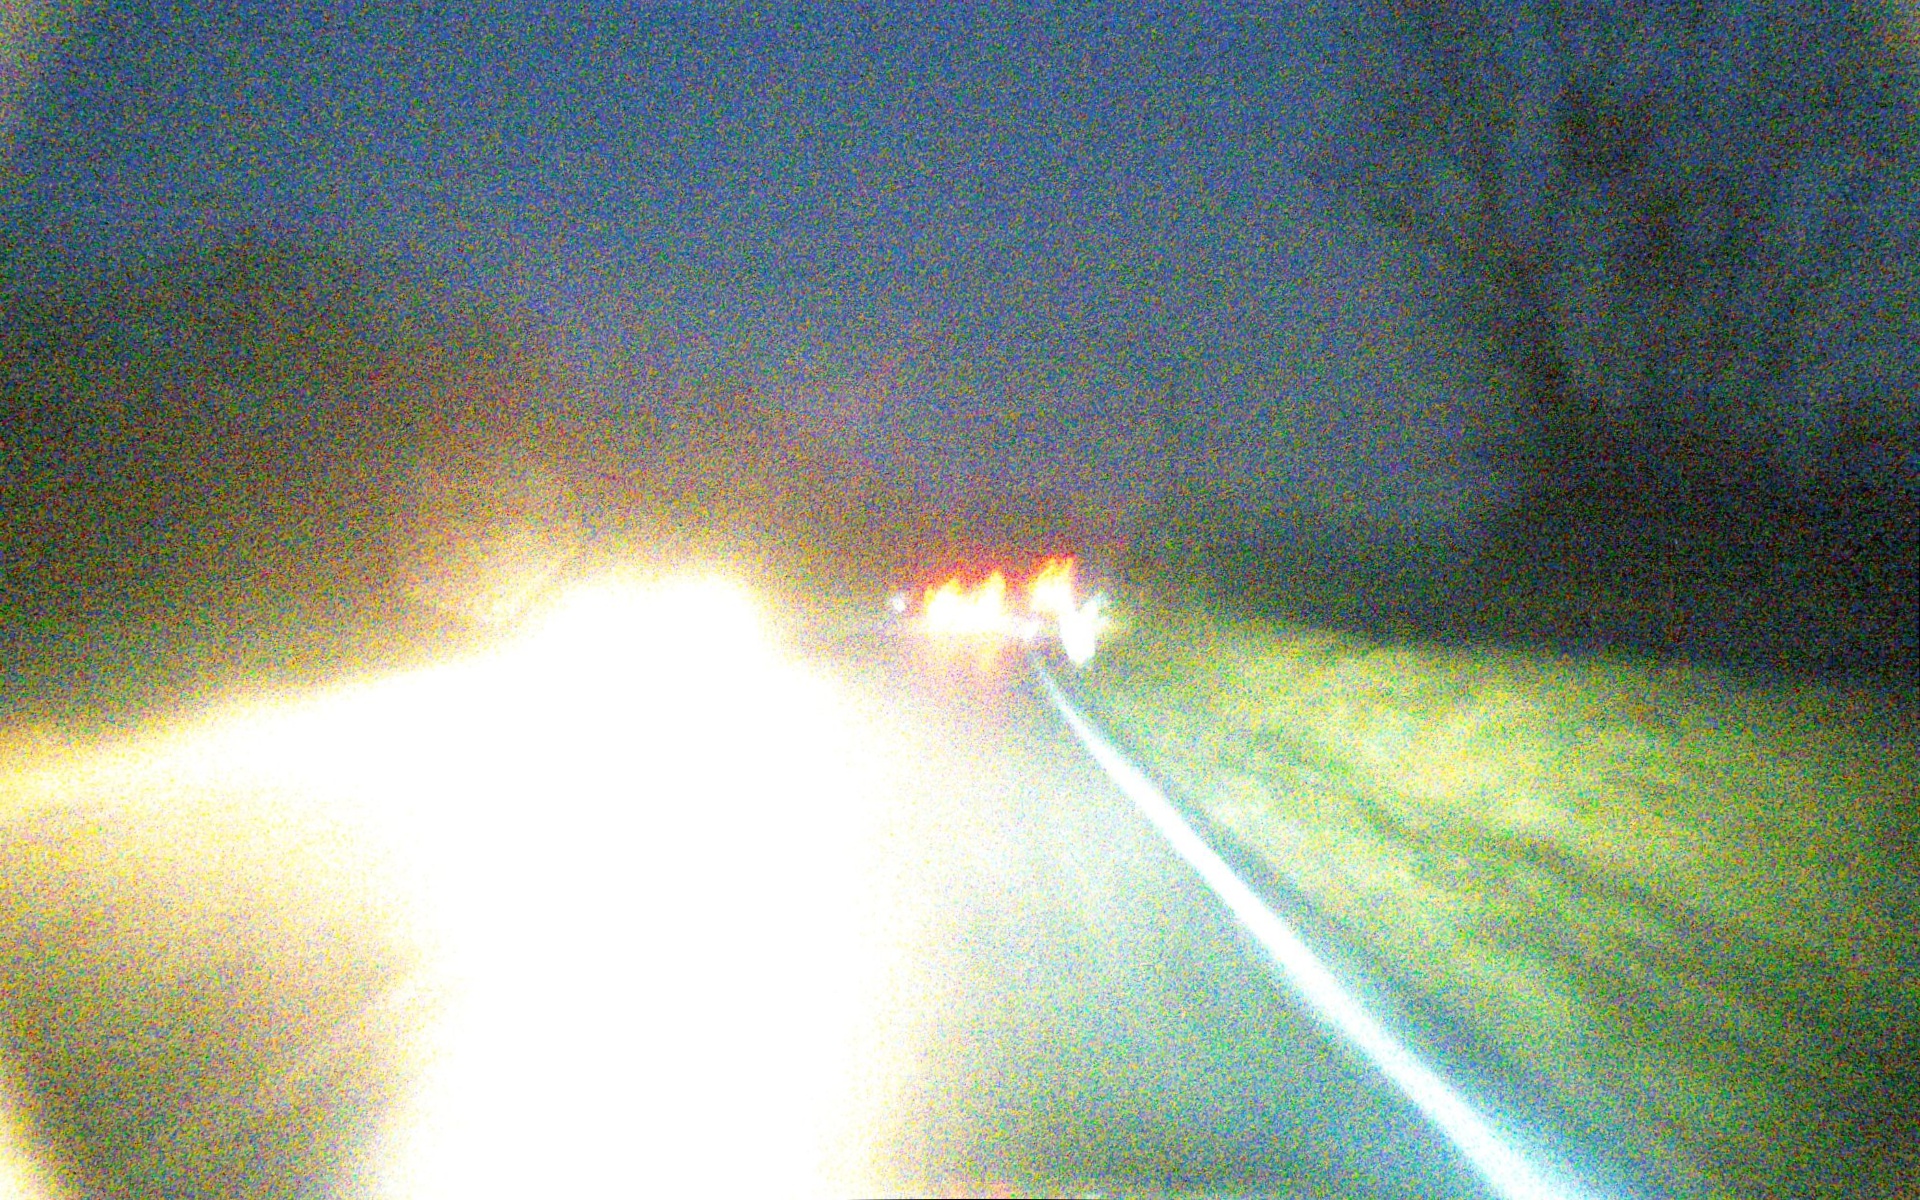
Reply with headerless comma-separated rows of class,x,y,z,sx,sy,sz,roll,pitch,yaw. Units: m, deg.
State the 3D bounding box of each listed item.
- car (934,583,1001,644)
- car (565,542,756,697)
car,0.268,0.389,50.742,1.804,1.771,4.002,0,1,3
car,-4.304,0.247,24.462,1.952,2.049,4.275,-1,0,1
